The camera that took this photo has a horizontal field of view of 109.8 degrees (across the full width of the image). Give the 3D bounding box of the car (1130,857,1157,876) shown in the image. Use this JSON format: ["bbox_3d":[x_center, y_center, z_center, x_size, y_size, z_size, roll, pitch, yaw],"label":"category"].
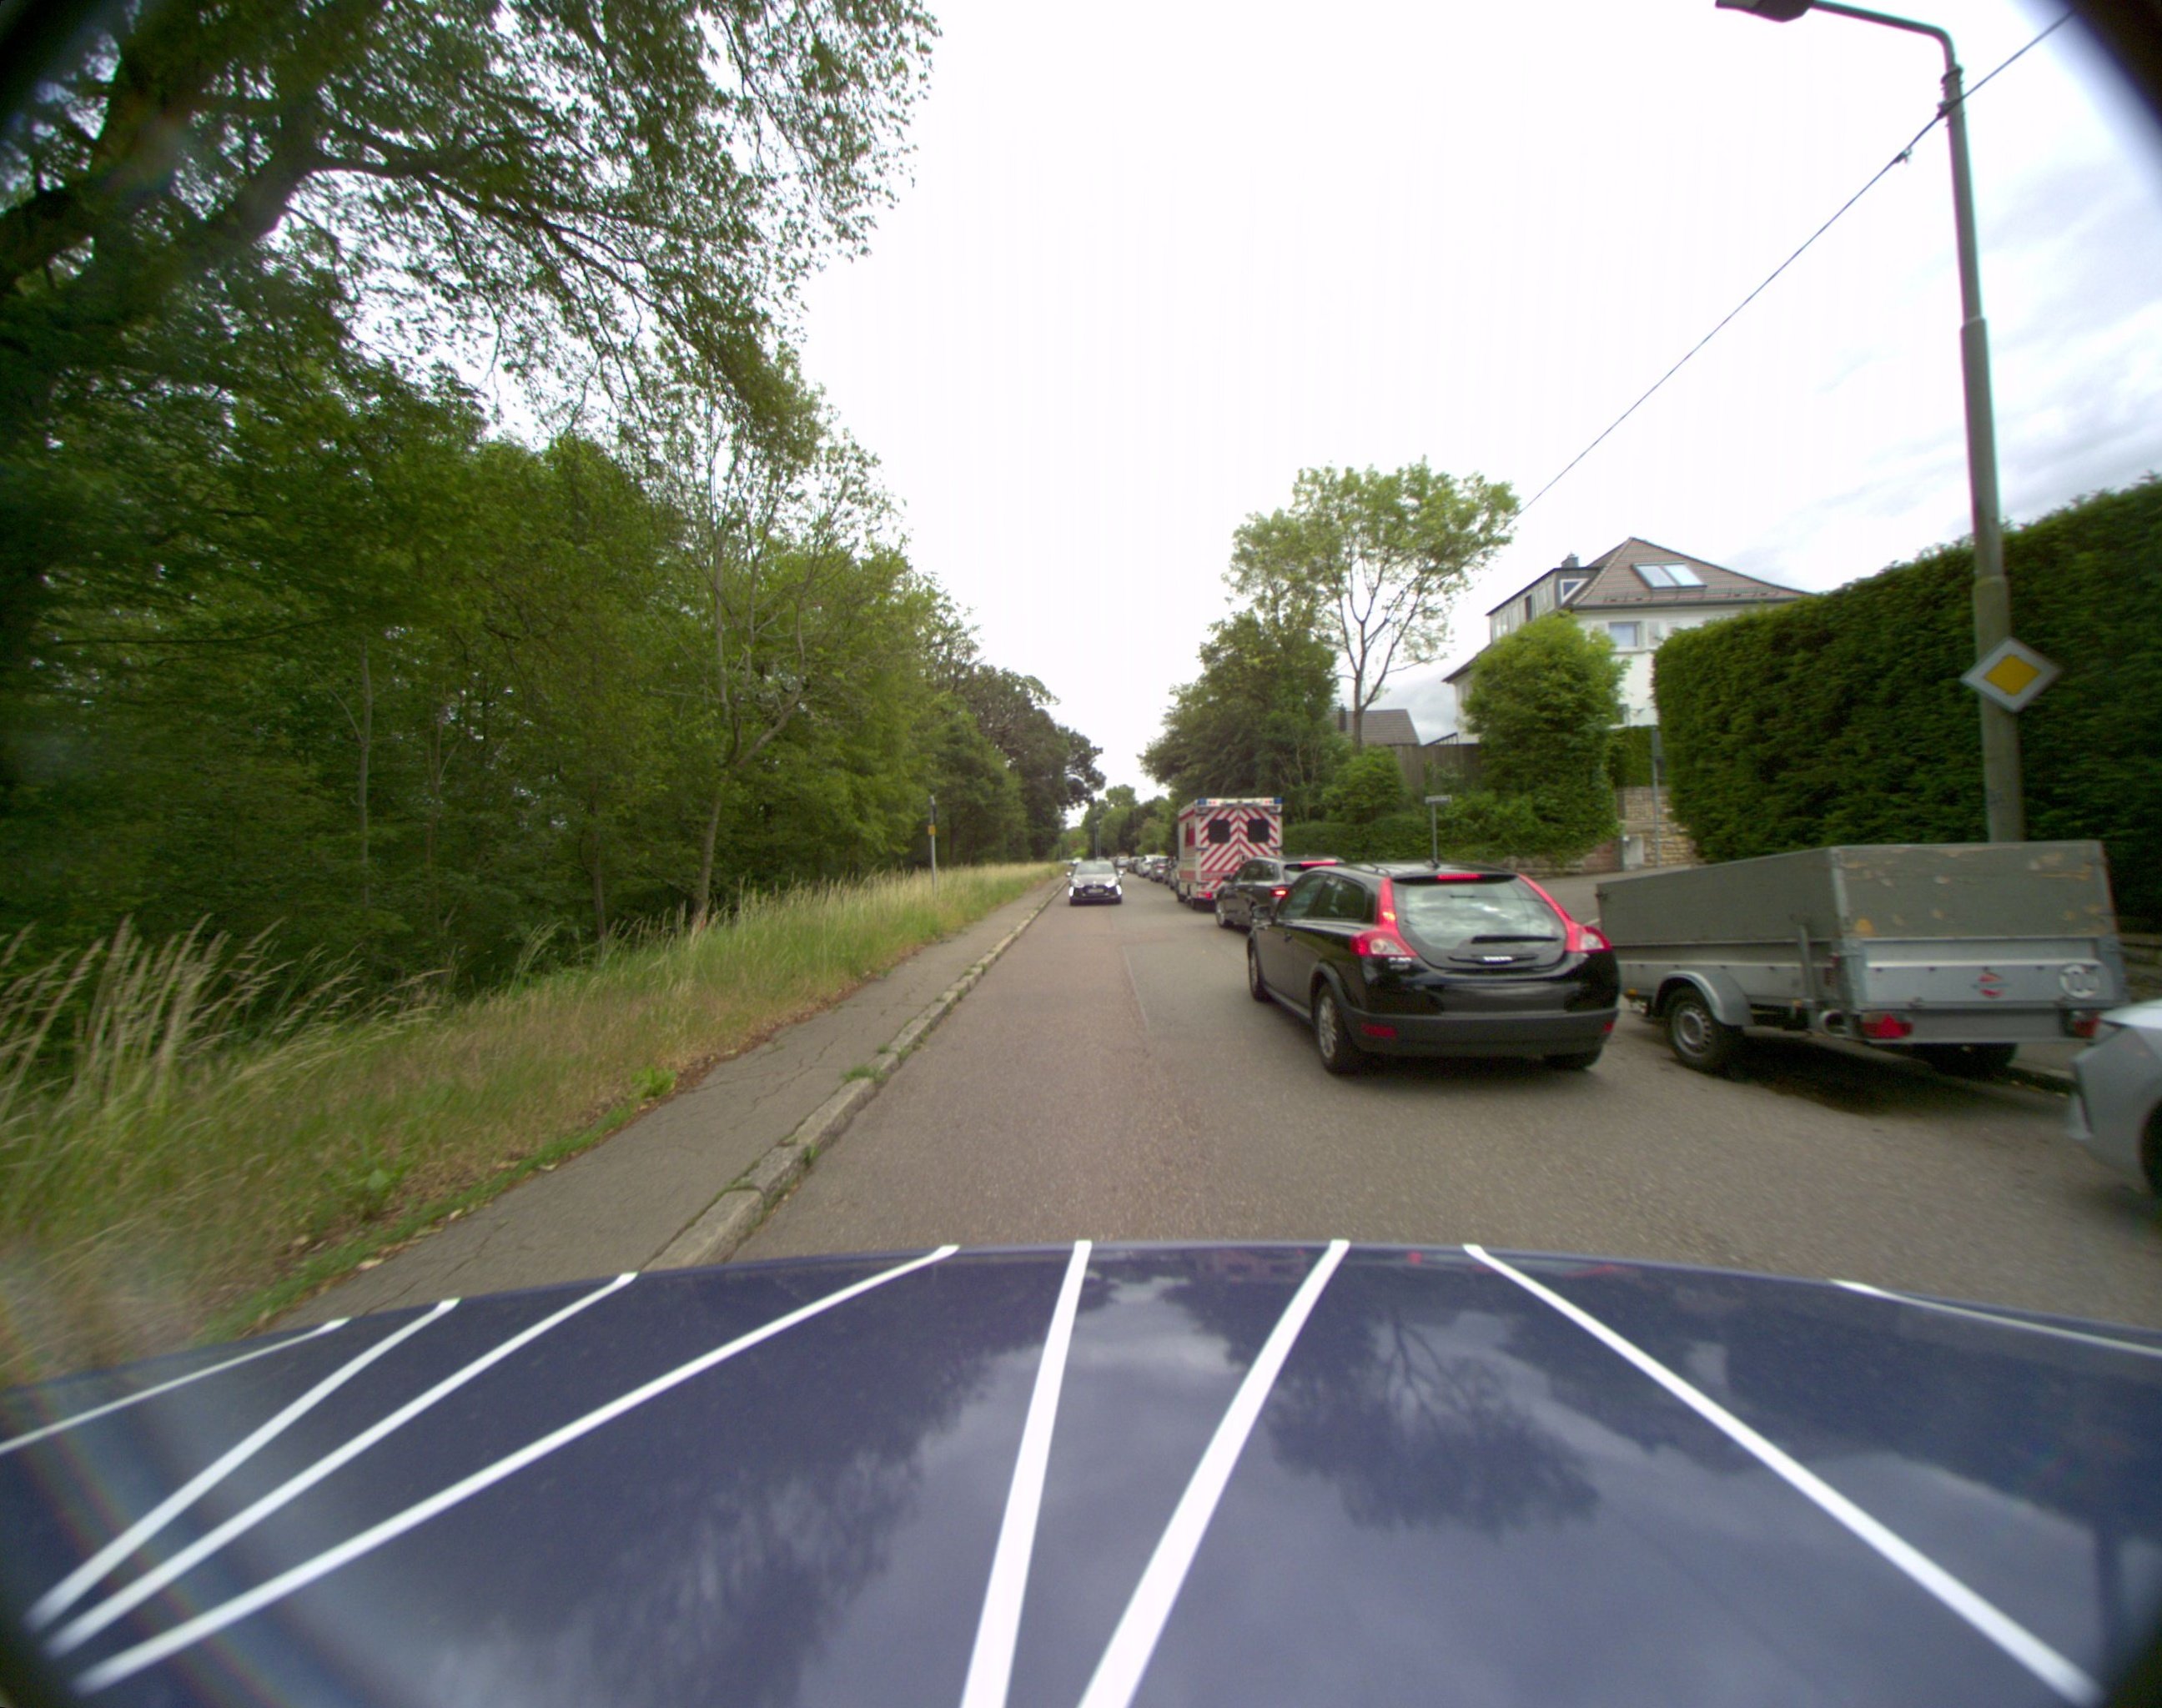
[{"bbox_3d":[5.033,0.990,61.499,1.839,1.431,4.117,-1,0,1],"label":"car"}]

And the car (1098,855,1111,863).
[{"bbox_3d":[4.432,0.885,142.284,1.765,1.441,4.042,-3,0,-6],"label":"car"}]

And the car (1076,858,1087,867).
[{"bbox_3d":[0.113,1.713,149.655,1.999,1.678,4.710,-3,0,-2],"label":"car"}]

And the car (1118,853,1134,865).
[{"bbox_3d":[5.991,0.695,102.003,1.788,1.491,4.014,-3,0,0],"label":"car"}]

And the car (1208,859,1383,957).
[{"bbox_3d":[3.684,0.849,13.931,1.768,1.437,4.472,-1,0,-2],"label":"car"}]

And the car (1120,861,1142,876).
[{"bbox_3d":[4.957,1.434,75.989,1.853,1.431,4.909,-1,0,-1],"label":"car"}]

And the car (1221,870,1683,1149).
[{"bbox_3d":[2.479,0.916,6.473,1.768,1.437,4.473,-1,0,1],"label":"car"}]

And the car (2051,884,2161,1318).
[{"bbox_3d":[4.597,0.851,0.685,1.768,1.490,4.473,0,0,1],"label":"car"}]

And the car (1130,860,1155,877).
[{"bbox_3d":[5.467,1.245,68.154,1.739,1.431,4.262,-1,0,-2],"label":"car"}]

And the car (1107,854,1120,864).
[{"bbox_3d":[5.201,0.849,122.949,1.741,1.431,3.787,-3,0,-2],"label":"car"}]

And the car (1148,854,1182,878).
[{"bbox_3d":[5.503,0.754,50.249,1.725,1.496,3.816,0,0,-2],"label":"car"}]

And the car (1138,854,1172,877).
[{"bbox_3d":[5.299,0.806,55.029,1.921,1.553,4.603,0,0,-2],"label":"car"}]

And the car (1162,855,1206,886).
[{"bbox_3d":[5.242,0.819,39.048,1.724,1.496,4.060,0,0,0],"label":"car"}]

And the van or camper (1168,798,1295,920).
[{"bbox_3d":[4.055,0.126,21.956,2.462,2.878,7.169,-1,0,2],"label":"van or camper"}]

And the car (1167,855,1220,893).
[{"bbox_3d":[4.841,0.819,33.189,1.802,1.496,4.864,0,0,3],"label":"car"}]

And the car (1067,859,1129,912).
[{"bbox_3d":[0.510,0.948,24.868,1.788,1.491,4.014,-3,0,0],"label":"car"}]

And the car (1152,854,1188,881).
[{"bbox_3d":[5.147,0.770,44.243,1.724,1.496,4.008,0,0,1],"label":"car"}]

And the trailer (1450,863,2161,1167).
[{"bbox_3d":[4.912,0.859,6.144,1.767,1.487,4.474,-1,0,2],"label":"trailer"}]
